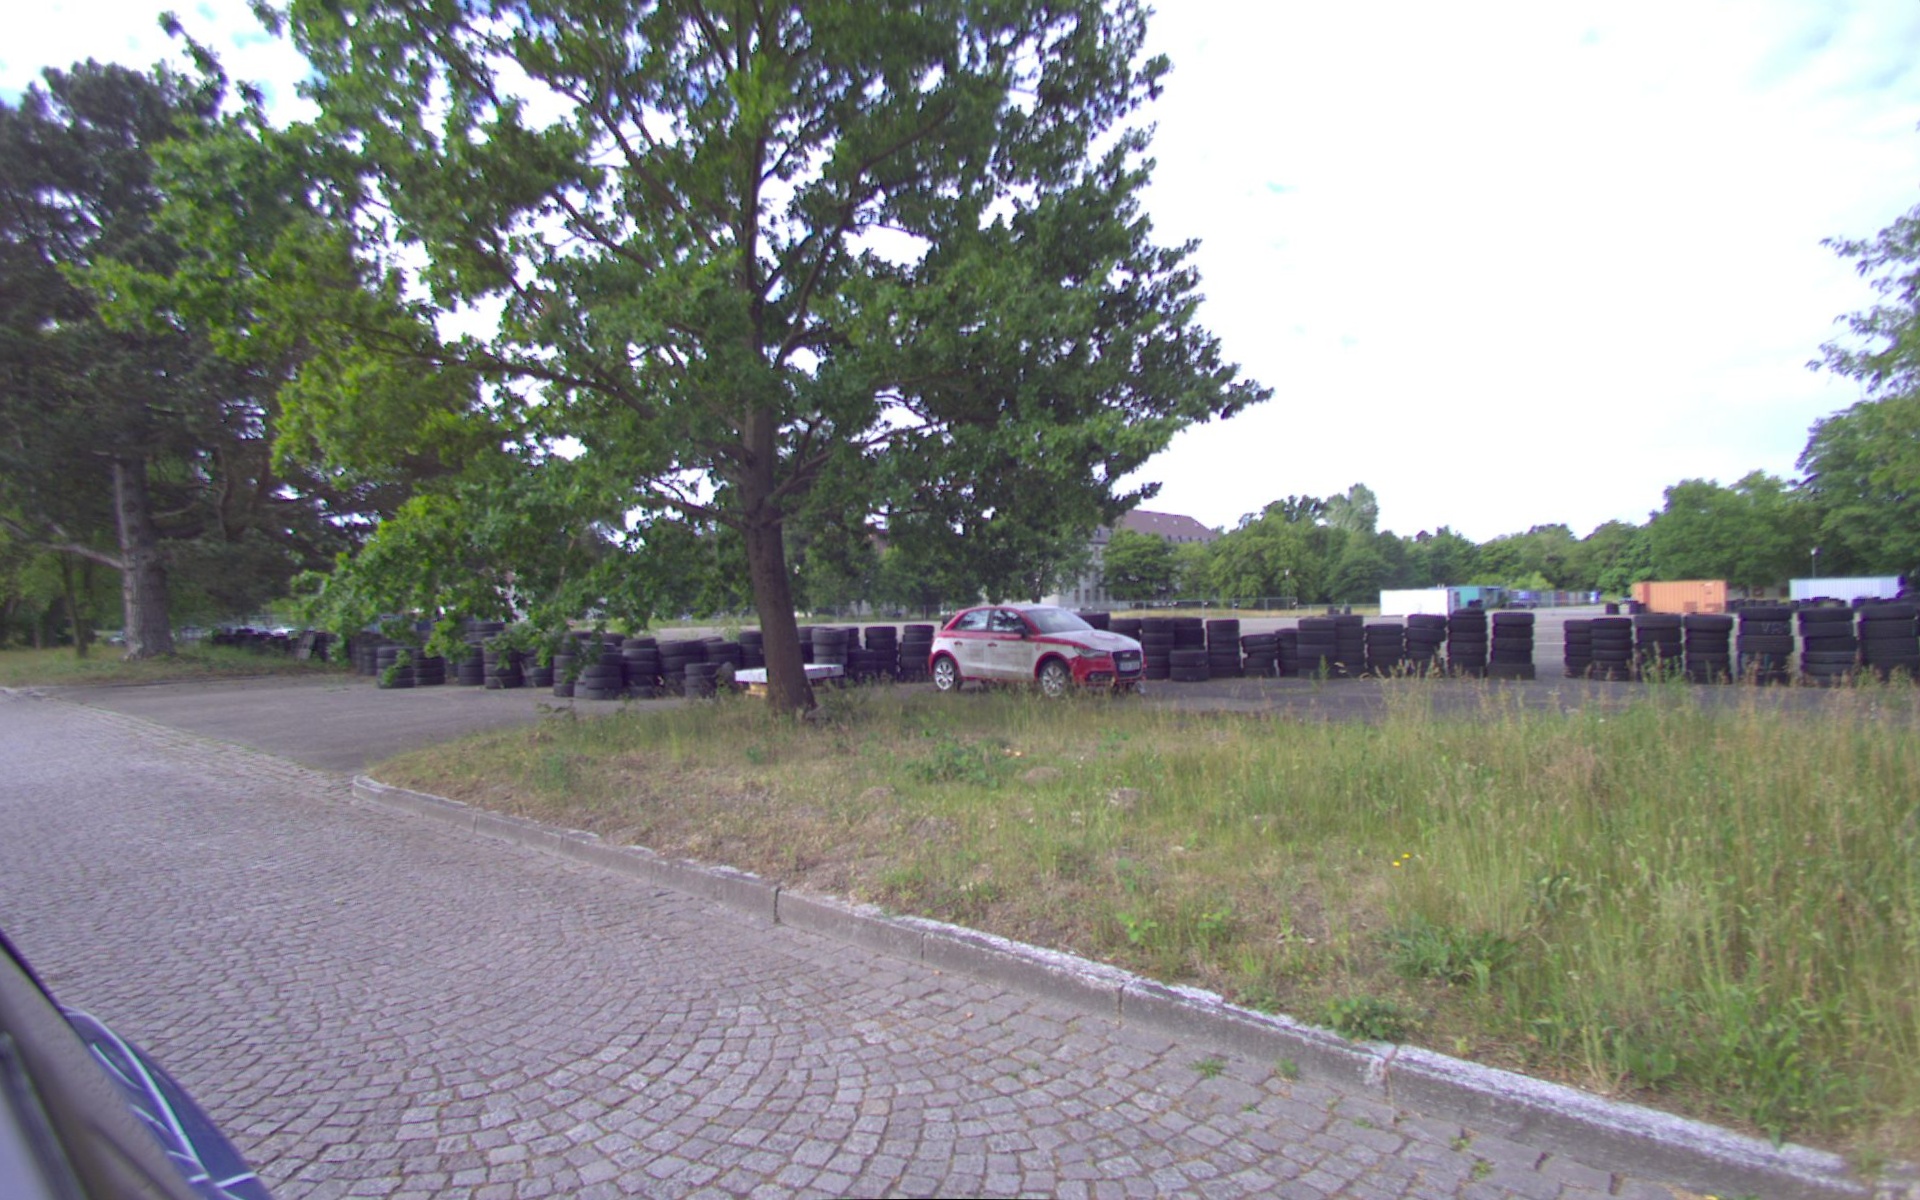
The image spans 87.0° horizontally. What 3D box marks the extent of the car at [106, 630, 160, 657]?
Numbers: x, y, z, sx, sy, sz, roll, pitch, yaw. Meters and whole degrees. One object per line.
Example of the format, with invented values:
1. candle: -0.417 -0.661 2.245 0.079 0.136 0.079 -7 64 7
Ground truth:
1. car: -46.825 2.438 57.275 3.719 1.421 1.649 -2 -1 39

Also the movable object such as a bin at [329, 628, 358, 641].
1. movable object such as a bin: -54.010 3.037 88.633 2.712 1.079 1.046 -2 -1 33

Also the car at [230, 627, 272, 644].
1. car: -65.737 3.297 93.797 4.446 1.460 1.975 -2 -1 38

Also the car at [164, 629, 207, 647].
1. car: -68.569 3.355 89.597 4.446 1.460 1.975 -2 -1 38

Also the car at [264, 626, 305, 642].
1. car: -64.285 3.266 96.308 4.446 1.460 1.975 -2 -1 38

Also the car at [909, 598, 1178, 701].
1. car: 1.236 0.757 16.483 1.802 1.442 4.223 -1 -1 -43

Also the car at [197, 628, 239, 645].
1. car: -67.320 3.329 91.794 4.446 1.460 1.975 -2 -1 38
